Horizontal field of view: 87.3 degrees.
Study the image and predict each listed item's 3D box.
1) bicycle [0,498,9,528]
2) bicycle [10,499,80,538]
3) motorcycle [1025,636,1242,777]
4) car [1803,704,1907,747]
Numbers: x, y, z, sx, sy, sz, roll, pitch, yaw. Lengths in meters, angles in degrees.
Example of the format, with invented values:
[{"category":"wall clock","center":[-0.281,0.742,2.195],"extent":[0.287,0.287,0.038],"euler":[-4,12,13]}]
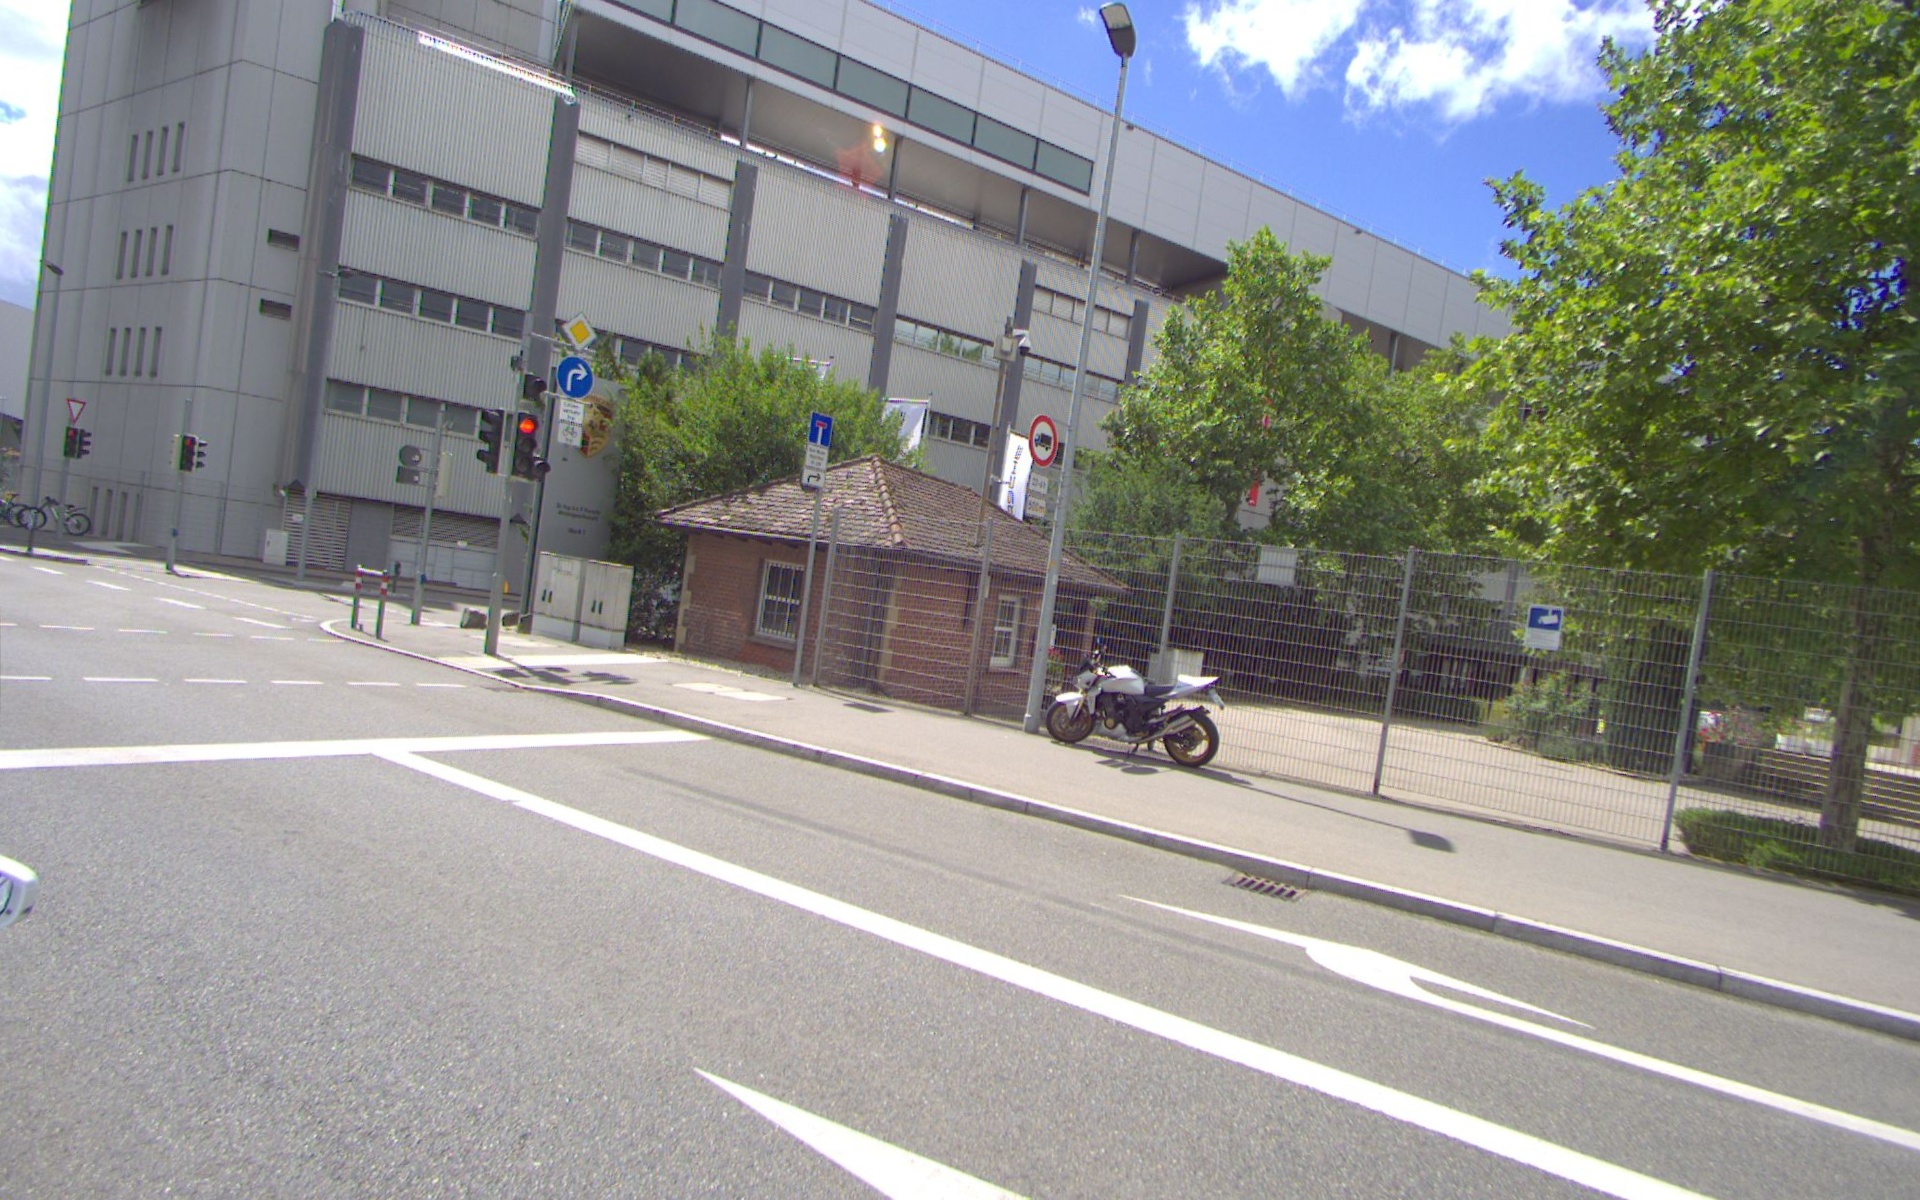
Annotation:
[{"category":"bicycle","center":[-31.272,-2.876,32.011],"extent":[1.891,0.948,0.399],"euler":[7,0,13]},{"category":"bicycle","center":[-28.843,-2.574,31.698],"extent":[1.892,0.948,0.399],"euler":[8,0,6]},{"category":"motorcycle","center":[1.867,1.114,10.968],"extent":[2.110,1.173,0.693],"euler":[7,2,27]},{"category":"car","center":[51.402,7.184,57.828],"extent":[1.979,1.803,3.970],"euler":[8,-2,-30]}]
